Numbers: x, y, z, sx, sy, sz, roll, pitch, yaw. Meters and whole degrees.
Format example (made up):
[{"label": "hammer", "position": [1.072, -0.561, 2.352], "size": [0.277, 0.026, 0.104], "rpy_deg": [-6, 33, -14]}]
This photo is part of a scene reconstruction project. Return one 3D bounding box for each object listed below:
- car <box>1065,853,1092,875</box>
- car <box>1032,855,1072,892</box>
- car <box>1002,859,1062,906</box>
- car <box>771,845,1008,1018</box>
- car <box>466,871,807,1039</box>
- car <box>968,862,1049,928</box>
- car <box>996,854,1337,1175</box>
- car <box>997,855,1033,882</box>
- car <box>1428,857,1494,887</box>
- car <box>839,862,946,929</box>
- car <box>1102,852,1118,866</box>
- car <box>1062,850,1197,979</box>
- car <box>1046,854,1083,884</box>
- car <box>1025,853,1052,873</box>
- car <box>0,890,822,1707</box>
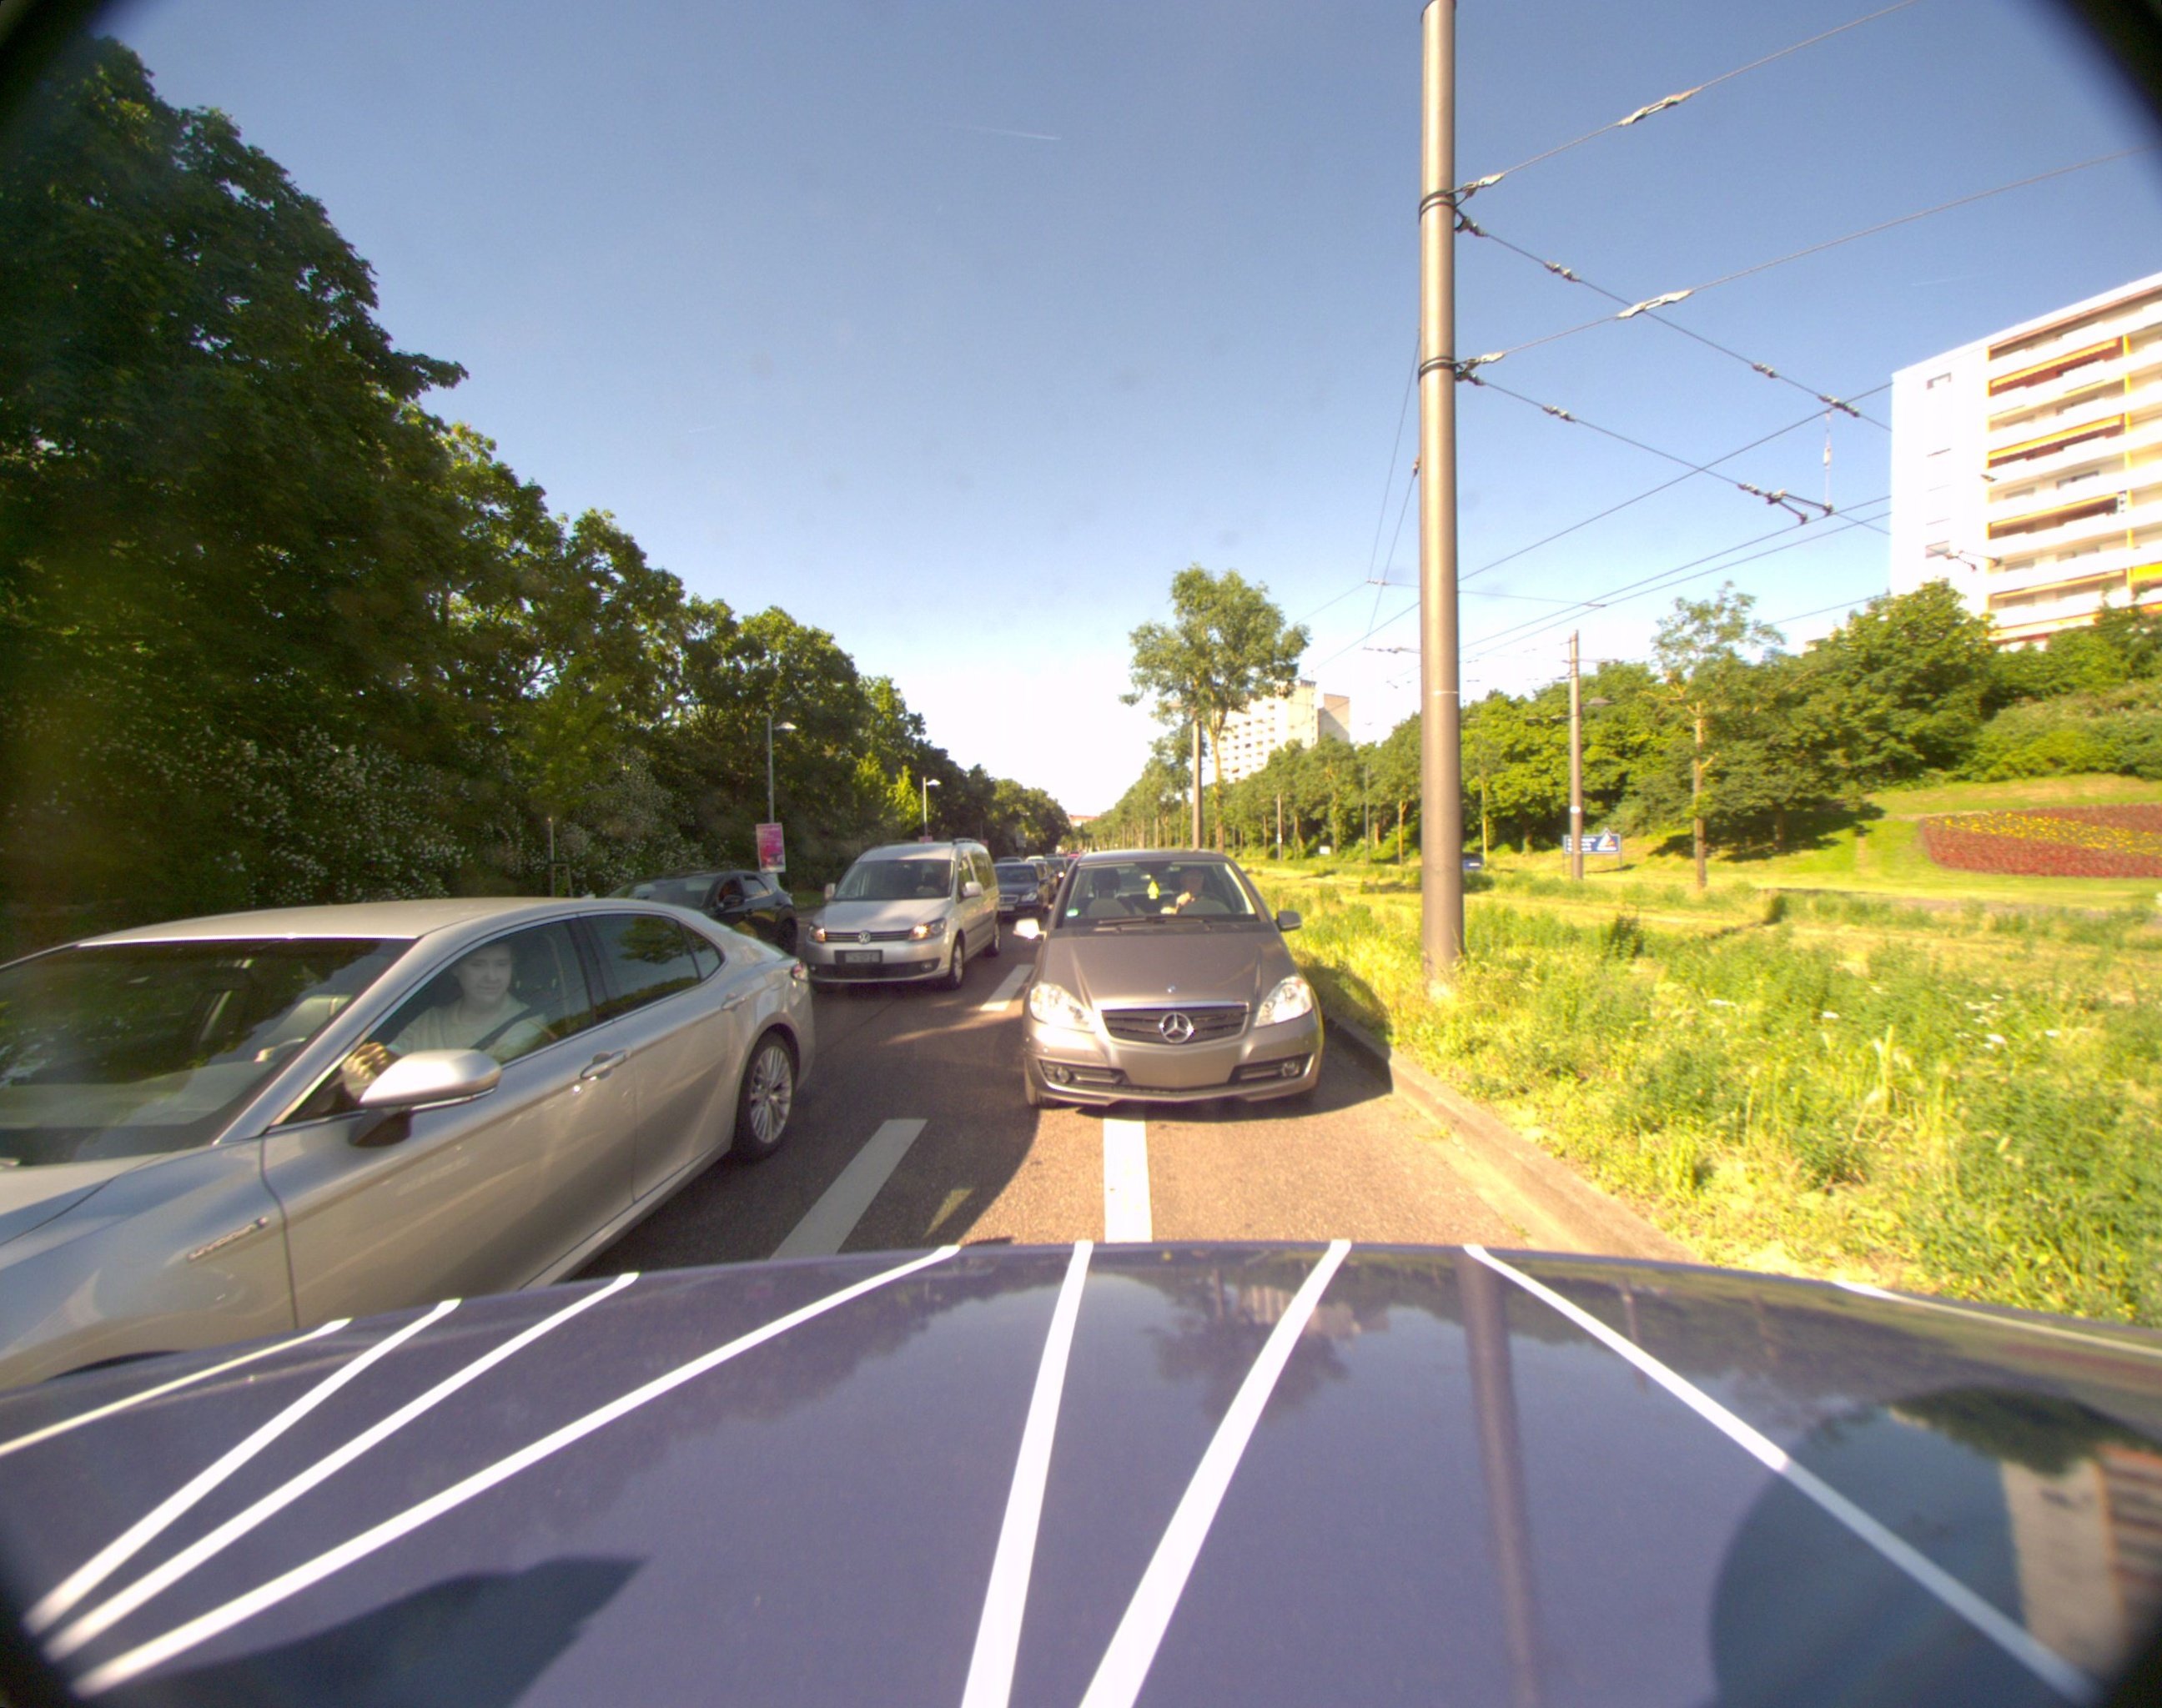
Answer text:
[{"label": "car", "position": [-0.131, 0.682, 53.705], "size": [1.685, 1.437, 3.727], "rpy_deg": [-2, 1, 2]}, {"label": "car", "position": [-1.260, 0.859, 34.709], "size": [1.621, 1.485, 3.452], "rpy_deg": [-2, 1, 0]}, {"label": "car", "position": [-1.639, 0.940, 26.631], "size": [1.723, 1.411, 4.050], "rpy_deg": [-1, 0, 1]}, {"label": "car", "position": [-2.277, 0.816, 10.434], "size": [1.808, 1.811, 4.587], "rpy_deg": [-2, 1, 3]}, {"label": "car", "position": [-5.268, 1.073, 9.814], "size": [1.772, 1.499, 4.225], "rpy_deg": [-2, 1, 2]}, {"label": "car", "position": [-1.743, 0.966, 19.504], "size": [1.717, 1.445, 4.197], "rpy_deg": [-1, 0, -1]}, {"label": "car", "position": [0.480, 0.854, 6.024], "size": [1.749, 1.630, 4.000], "rpy_deg": [-2, 0, 1]}, {"label": "car", "position": [-3.927, 0.840, 45.840], "size": [1.713, 1.485, 3.963], "rpy_deg": [-2, 0, 1]}, {"label": "car", "position": [20.068, 0.919, 40.264], "size": [1.578, 1.412, 3.909], "rpy_deg": [-1, 0, 1]}, {"label": "car", "position": [-4.990, 1.040, 20.686], "size": [1.726, 1.508, 4.137], "rpy_deg": [-2, 0, 1]}, {"label": "car", "position": [3.506, 0.590, 92.538], "size": [1.749, 1.652, 4.000], "rpy_deg": [-1, 0, 1]}, {"label": "car", "position": [0.673, 0.802, 12.179], "size": [1.749, 1.652, 3.999], "rpy_deg": [-2, 1, 1]}, {"label": "car", "position": [-0.800, 0.761, 39.860], "size": [1.713, 1.430, 4.171], "rpy_deg": [-2, 0, 1]}, {"label": "car", "position": [-3.390, 0.701, 61.188], "size": [1.749, 1.427, 4.386], "rpy_deg": [-2, 1, 2]}, {"label": "car", "position": [-2.634, 1.010, 2.448], "size": [1.809, 1.484, 4.682], "rpy_deg": [-2, 0, 2]}]
